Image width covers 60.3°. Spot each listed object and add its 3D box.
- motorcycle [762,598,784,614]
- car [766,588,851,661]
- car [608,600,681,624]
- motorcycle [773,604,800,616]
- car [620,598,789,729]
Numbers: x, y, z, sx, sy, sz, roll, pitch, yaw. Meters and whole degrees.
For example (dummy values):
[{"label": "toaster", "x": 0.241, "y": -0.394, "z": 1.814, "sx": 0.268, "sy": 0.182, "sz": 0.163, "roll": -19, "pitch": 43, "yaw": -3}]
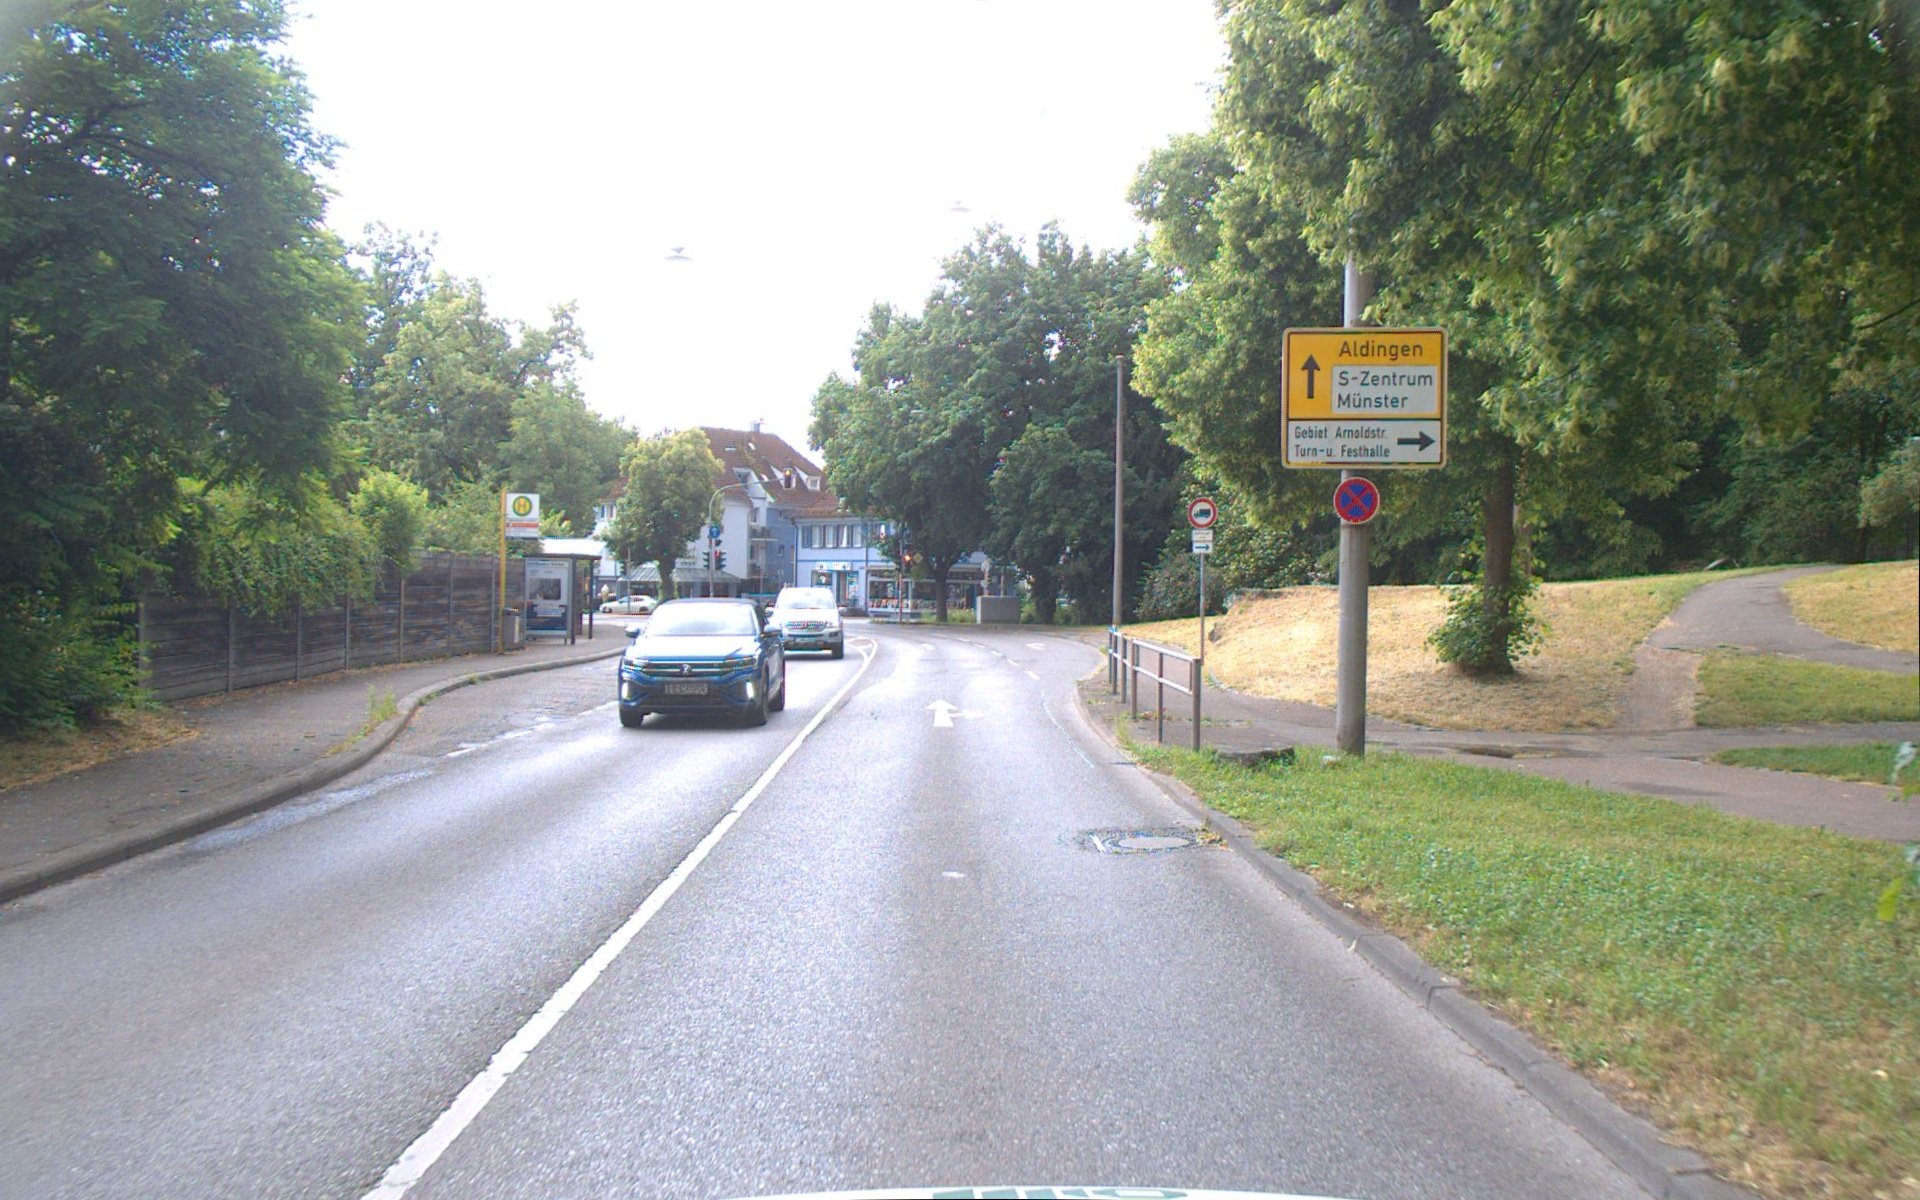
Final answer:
[{"label": "motorcycle", "x": -13.671, "y": 0.441, "z": 121.113, "sx": 1.463, "sy": 1.126, "sz": 0.561, "roll": -1, "pitch": 5, "yaw": 12}, {"label": "car", "x": -3.863, "y": 0.593, "z": 42.748, "sx": 1.896, "sy": 1.754, "sz": 4.690, "roll": 0, "pitch": 0, "yaw": -2}, {"label": "car", "x": -21.565, "y": 0.807, "z": 112.977, "sx": 4.480, "sy": 1.544, "sz": 2.002, "roll": -1, "pitch": 0, "yaw": 14}, {"label": "motorcycle", "x": -12.574, "y": 0.721, "z": 119.755, "sx": 1.797, "sy": 0.862, "sz": 0.561, "roll": -1, "pitch": 5, "yaw": 16}, {"label": "car", "x": -3.180, "y": 0.730, "z": 21.258, "sx": 1.681, "sy": 1.494, "sz": 4.097, "roll": 0, "pitch": 0, "yaw": -2}]
